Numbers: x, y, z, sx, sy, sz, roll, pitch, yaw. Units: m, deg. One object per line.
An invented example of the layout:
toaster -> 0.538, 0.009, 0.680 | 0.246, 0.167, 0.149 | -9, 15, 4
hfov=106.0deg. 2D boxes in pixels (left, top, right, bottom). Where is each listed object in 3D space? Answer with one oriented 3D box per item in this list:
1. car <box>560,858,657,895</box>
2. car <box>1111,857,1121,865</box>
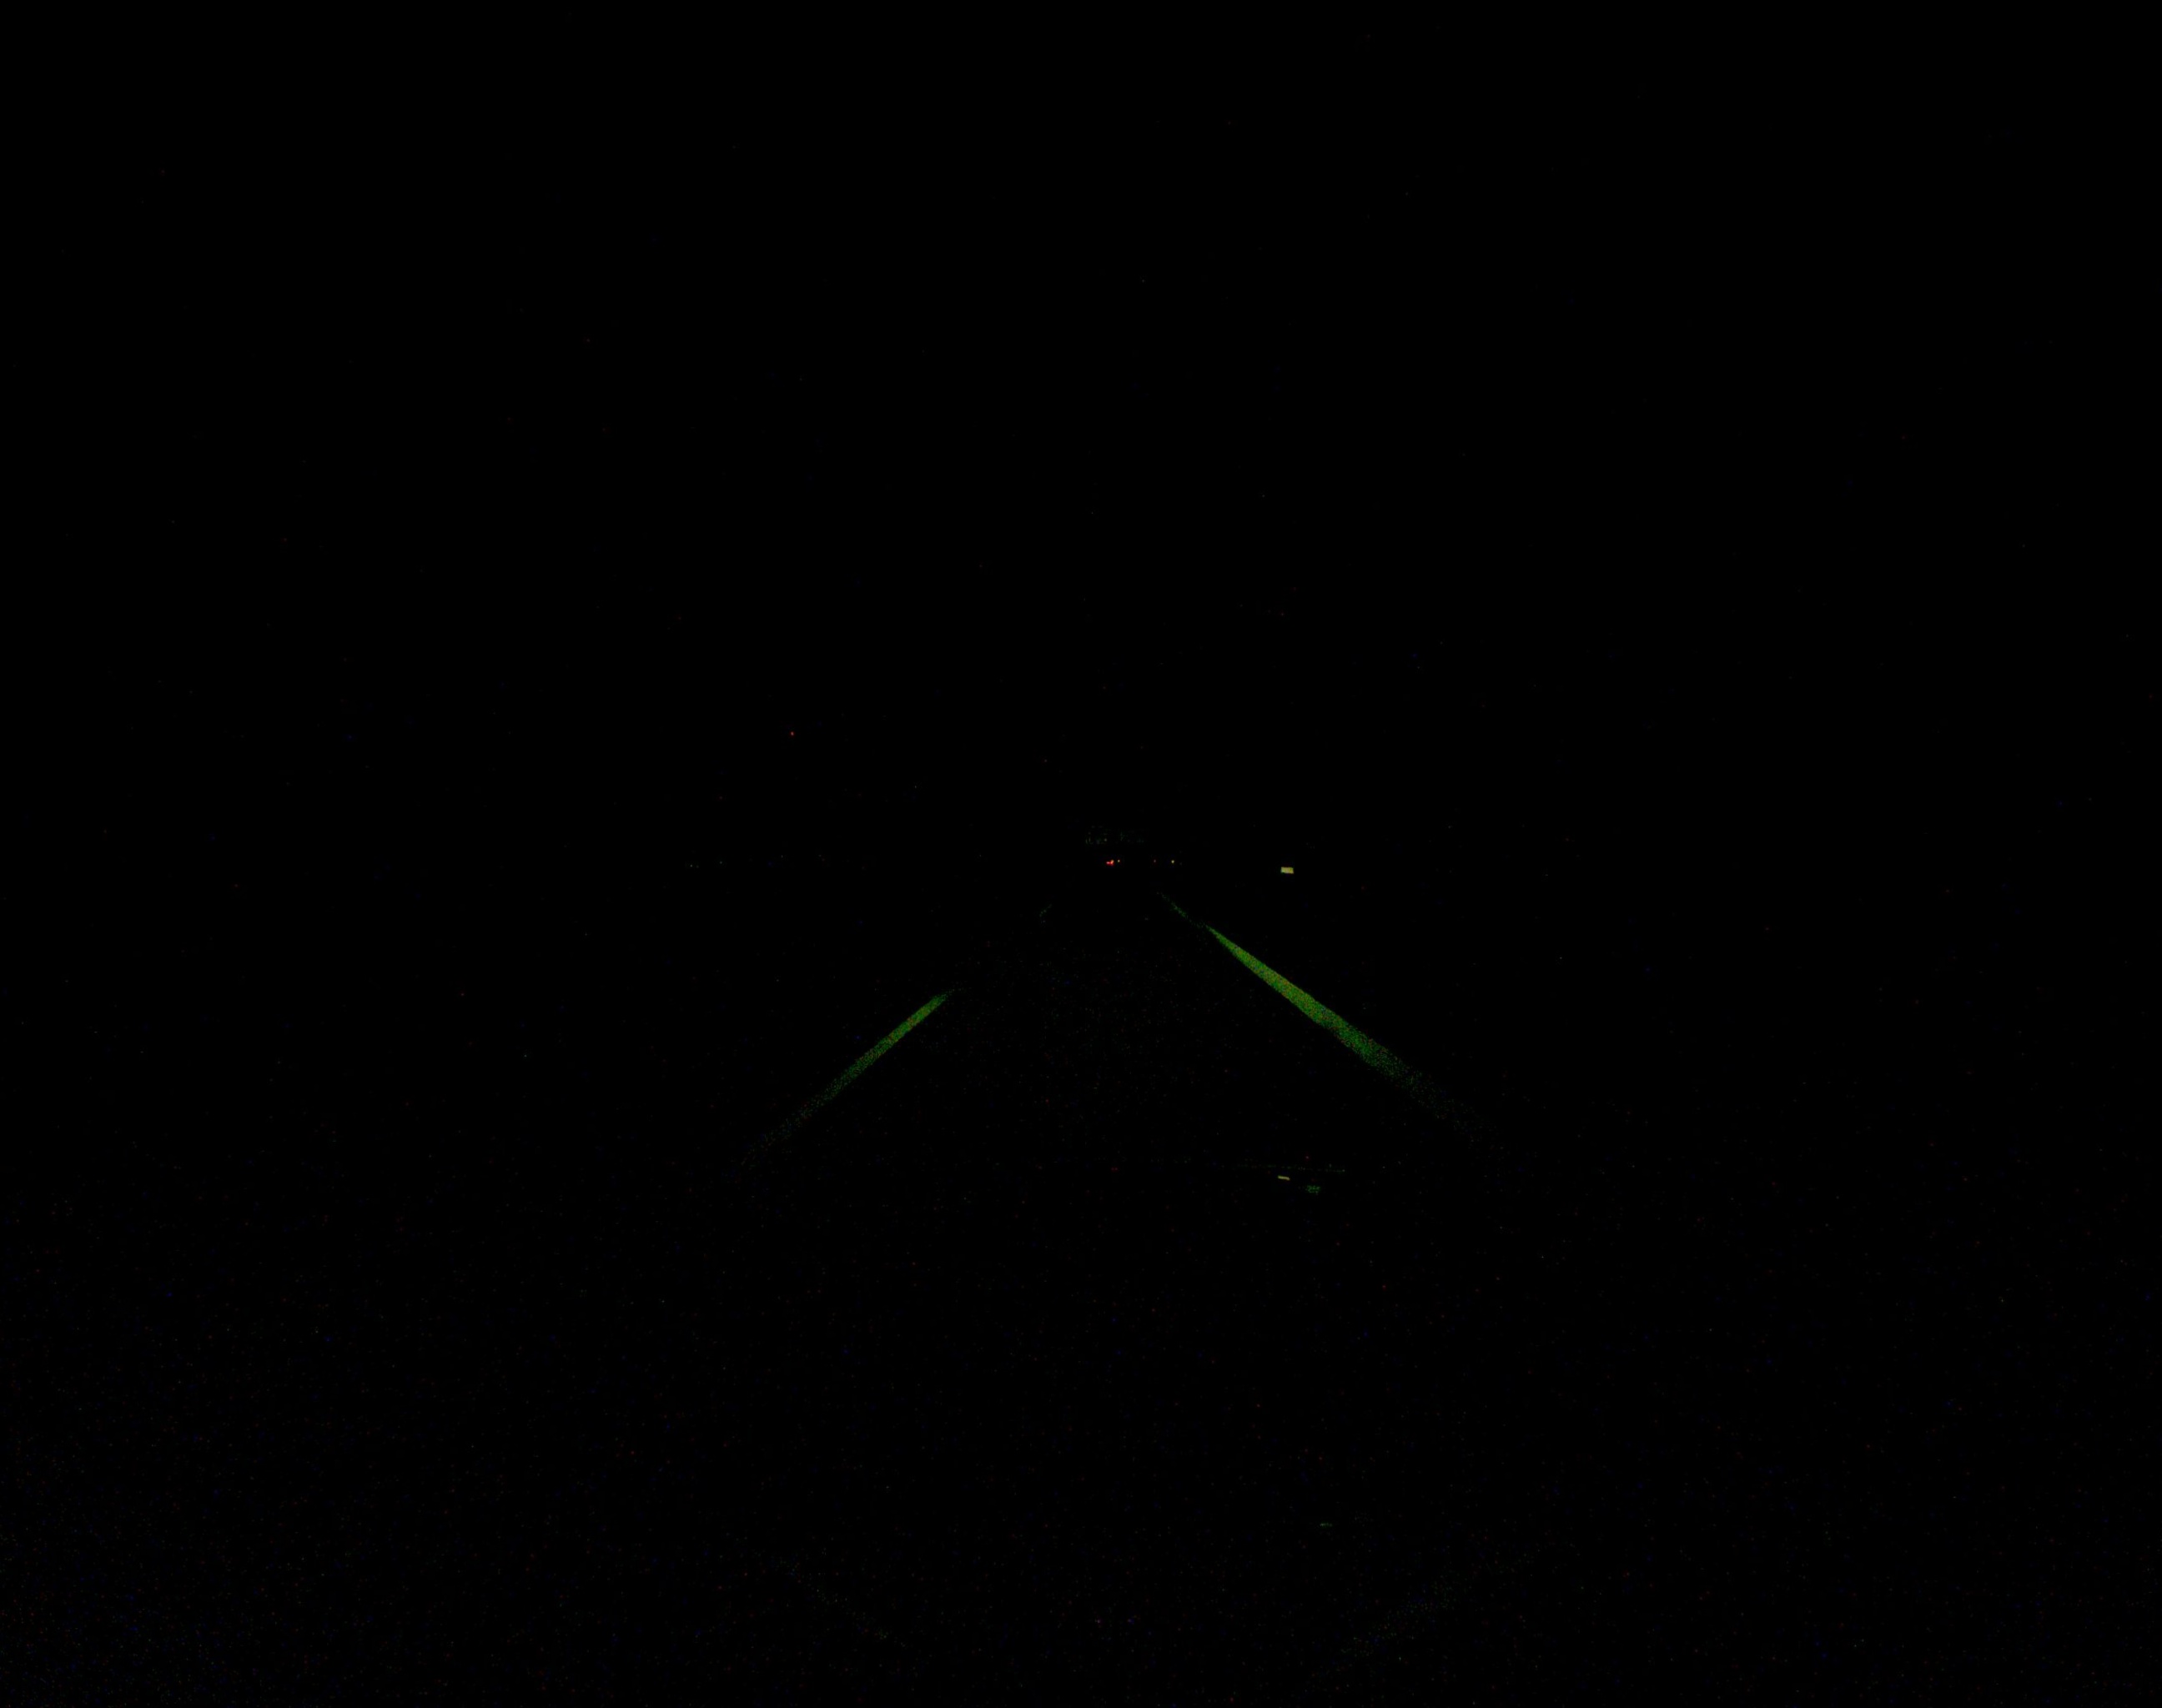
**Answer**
car -> -21.187, 0.985, 36.700 | 1.889, 1.562, 4.002 | 0, 0, 2
car -> 10.344, 2.001, 239.254 | 2.498, 2.314, 4.978 | -1, -1, 6
